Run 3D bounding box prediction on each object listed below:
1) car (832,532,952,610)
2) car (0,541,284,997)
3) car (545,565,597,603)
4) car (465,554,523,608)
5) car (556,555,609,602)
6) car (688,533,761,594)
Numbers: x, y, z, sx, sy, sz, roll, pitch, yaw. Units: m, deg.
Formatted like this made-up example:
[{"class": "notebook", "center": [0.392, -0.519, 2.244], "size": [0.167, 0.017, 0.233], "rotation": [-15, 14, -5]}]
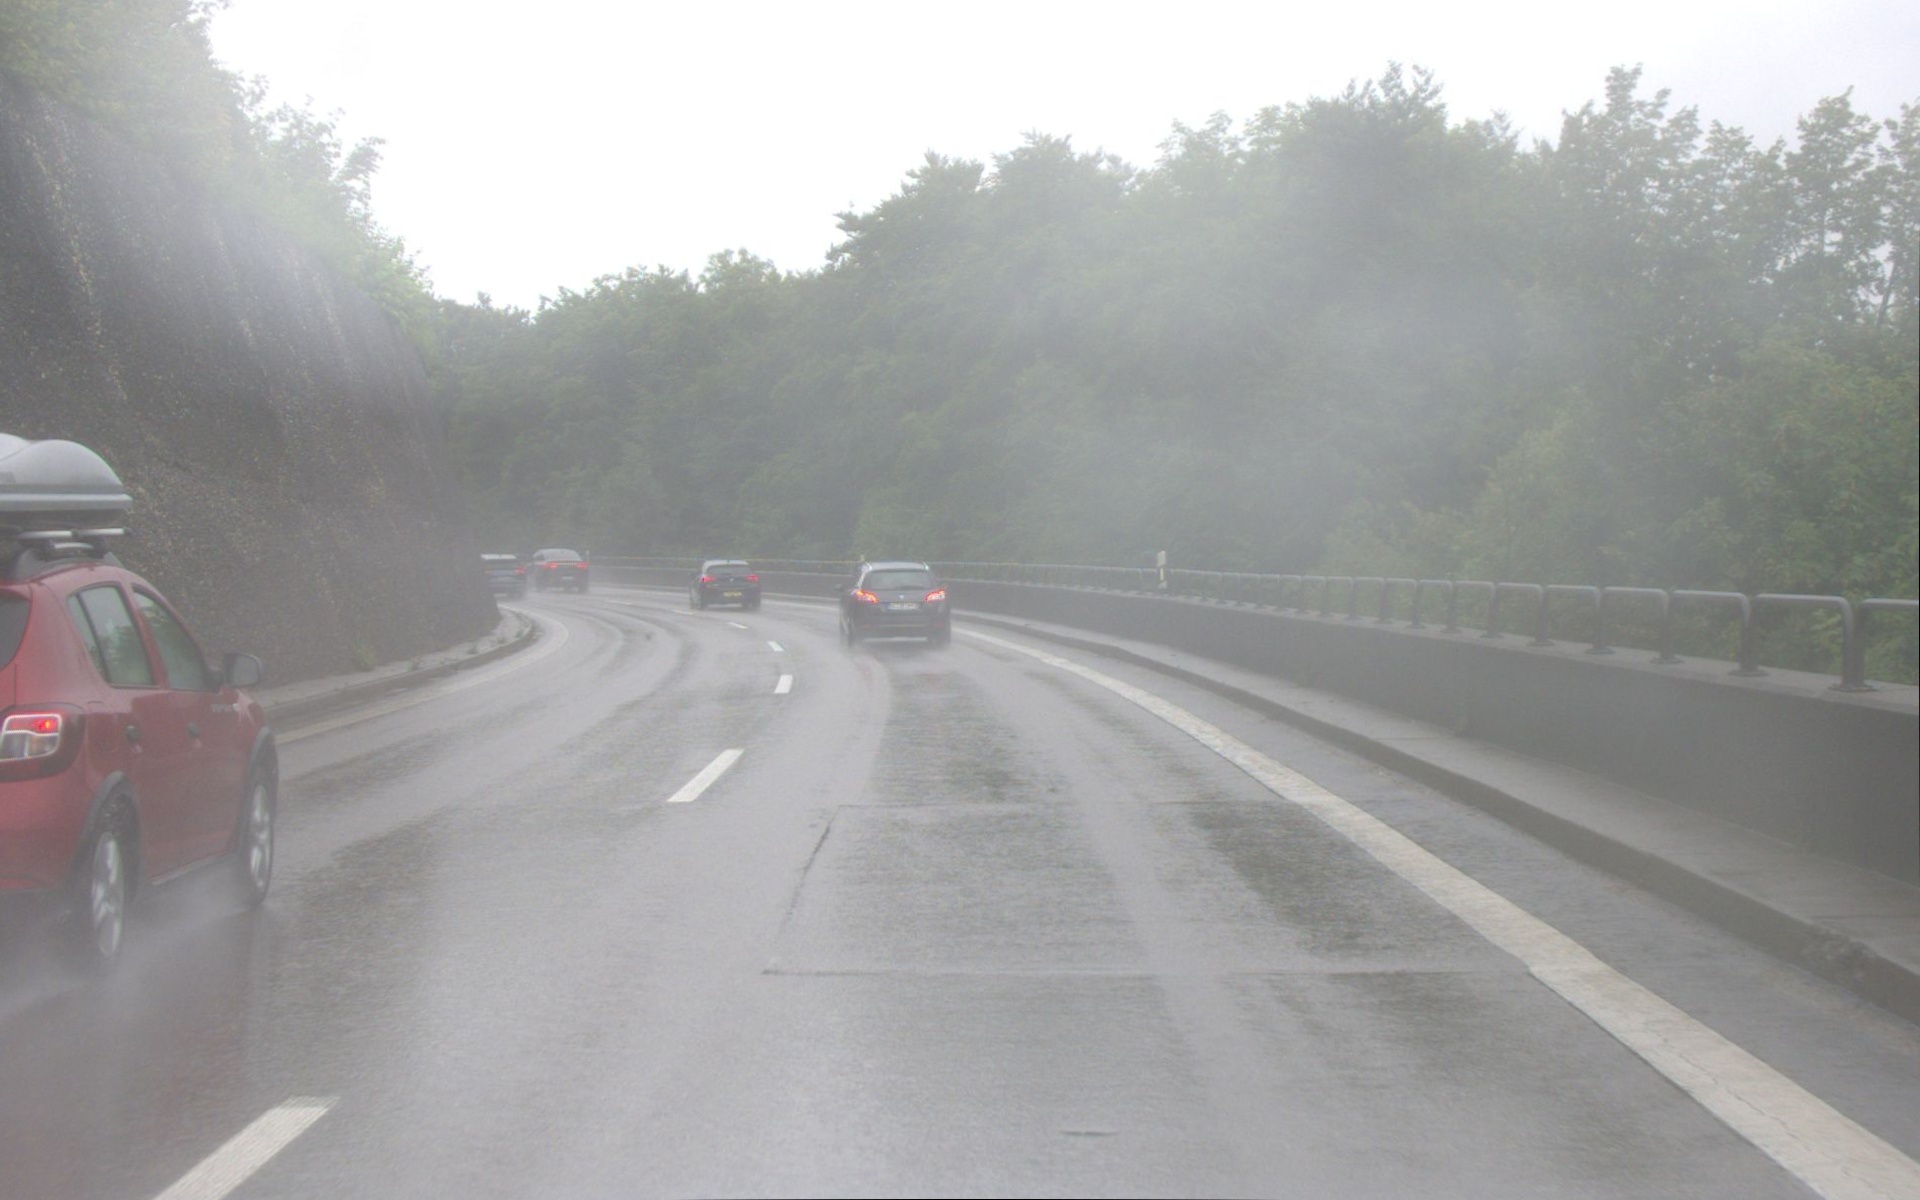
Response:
[{"class": "car", "center": [-1.226, -0.518, 60.145], "size": [1.800, 1.303, 4.001], "rotation": [0, 1, -5]}, {"class": "car", "center": [-3.996, 0.556, 13.644], "size": [1.993, 1.546, 4.001], "rotation": [-1, 1, -3]}, {"class": "car", "center": [-15.372, -0.655, 135.598], "size": [1.800, 1.462, 4.001], "rotation": [-1, 1, -10]}, {"class": "car", "center": [-16.878, -0.685, 124.564], "size": [1.993, 1.897, 4.001], "rotation": [0, 0, -7]}, {"class": "car", "center": [-16.630, -0.936, 151.333], "size": [1.993, 2.007, 4.001], "rotation": [0, 0, -12]}, {"class": "car", "center": [-6.880, -1.045, 100.245], "size": [1.993, 1.744, 4.001], "rotation": [0, 0, -6]}]
